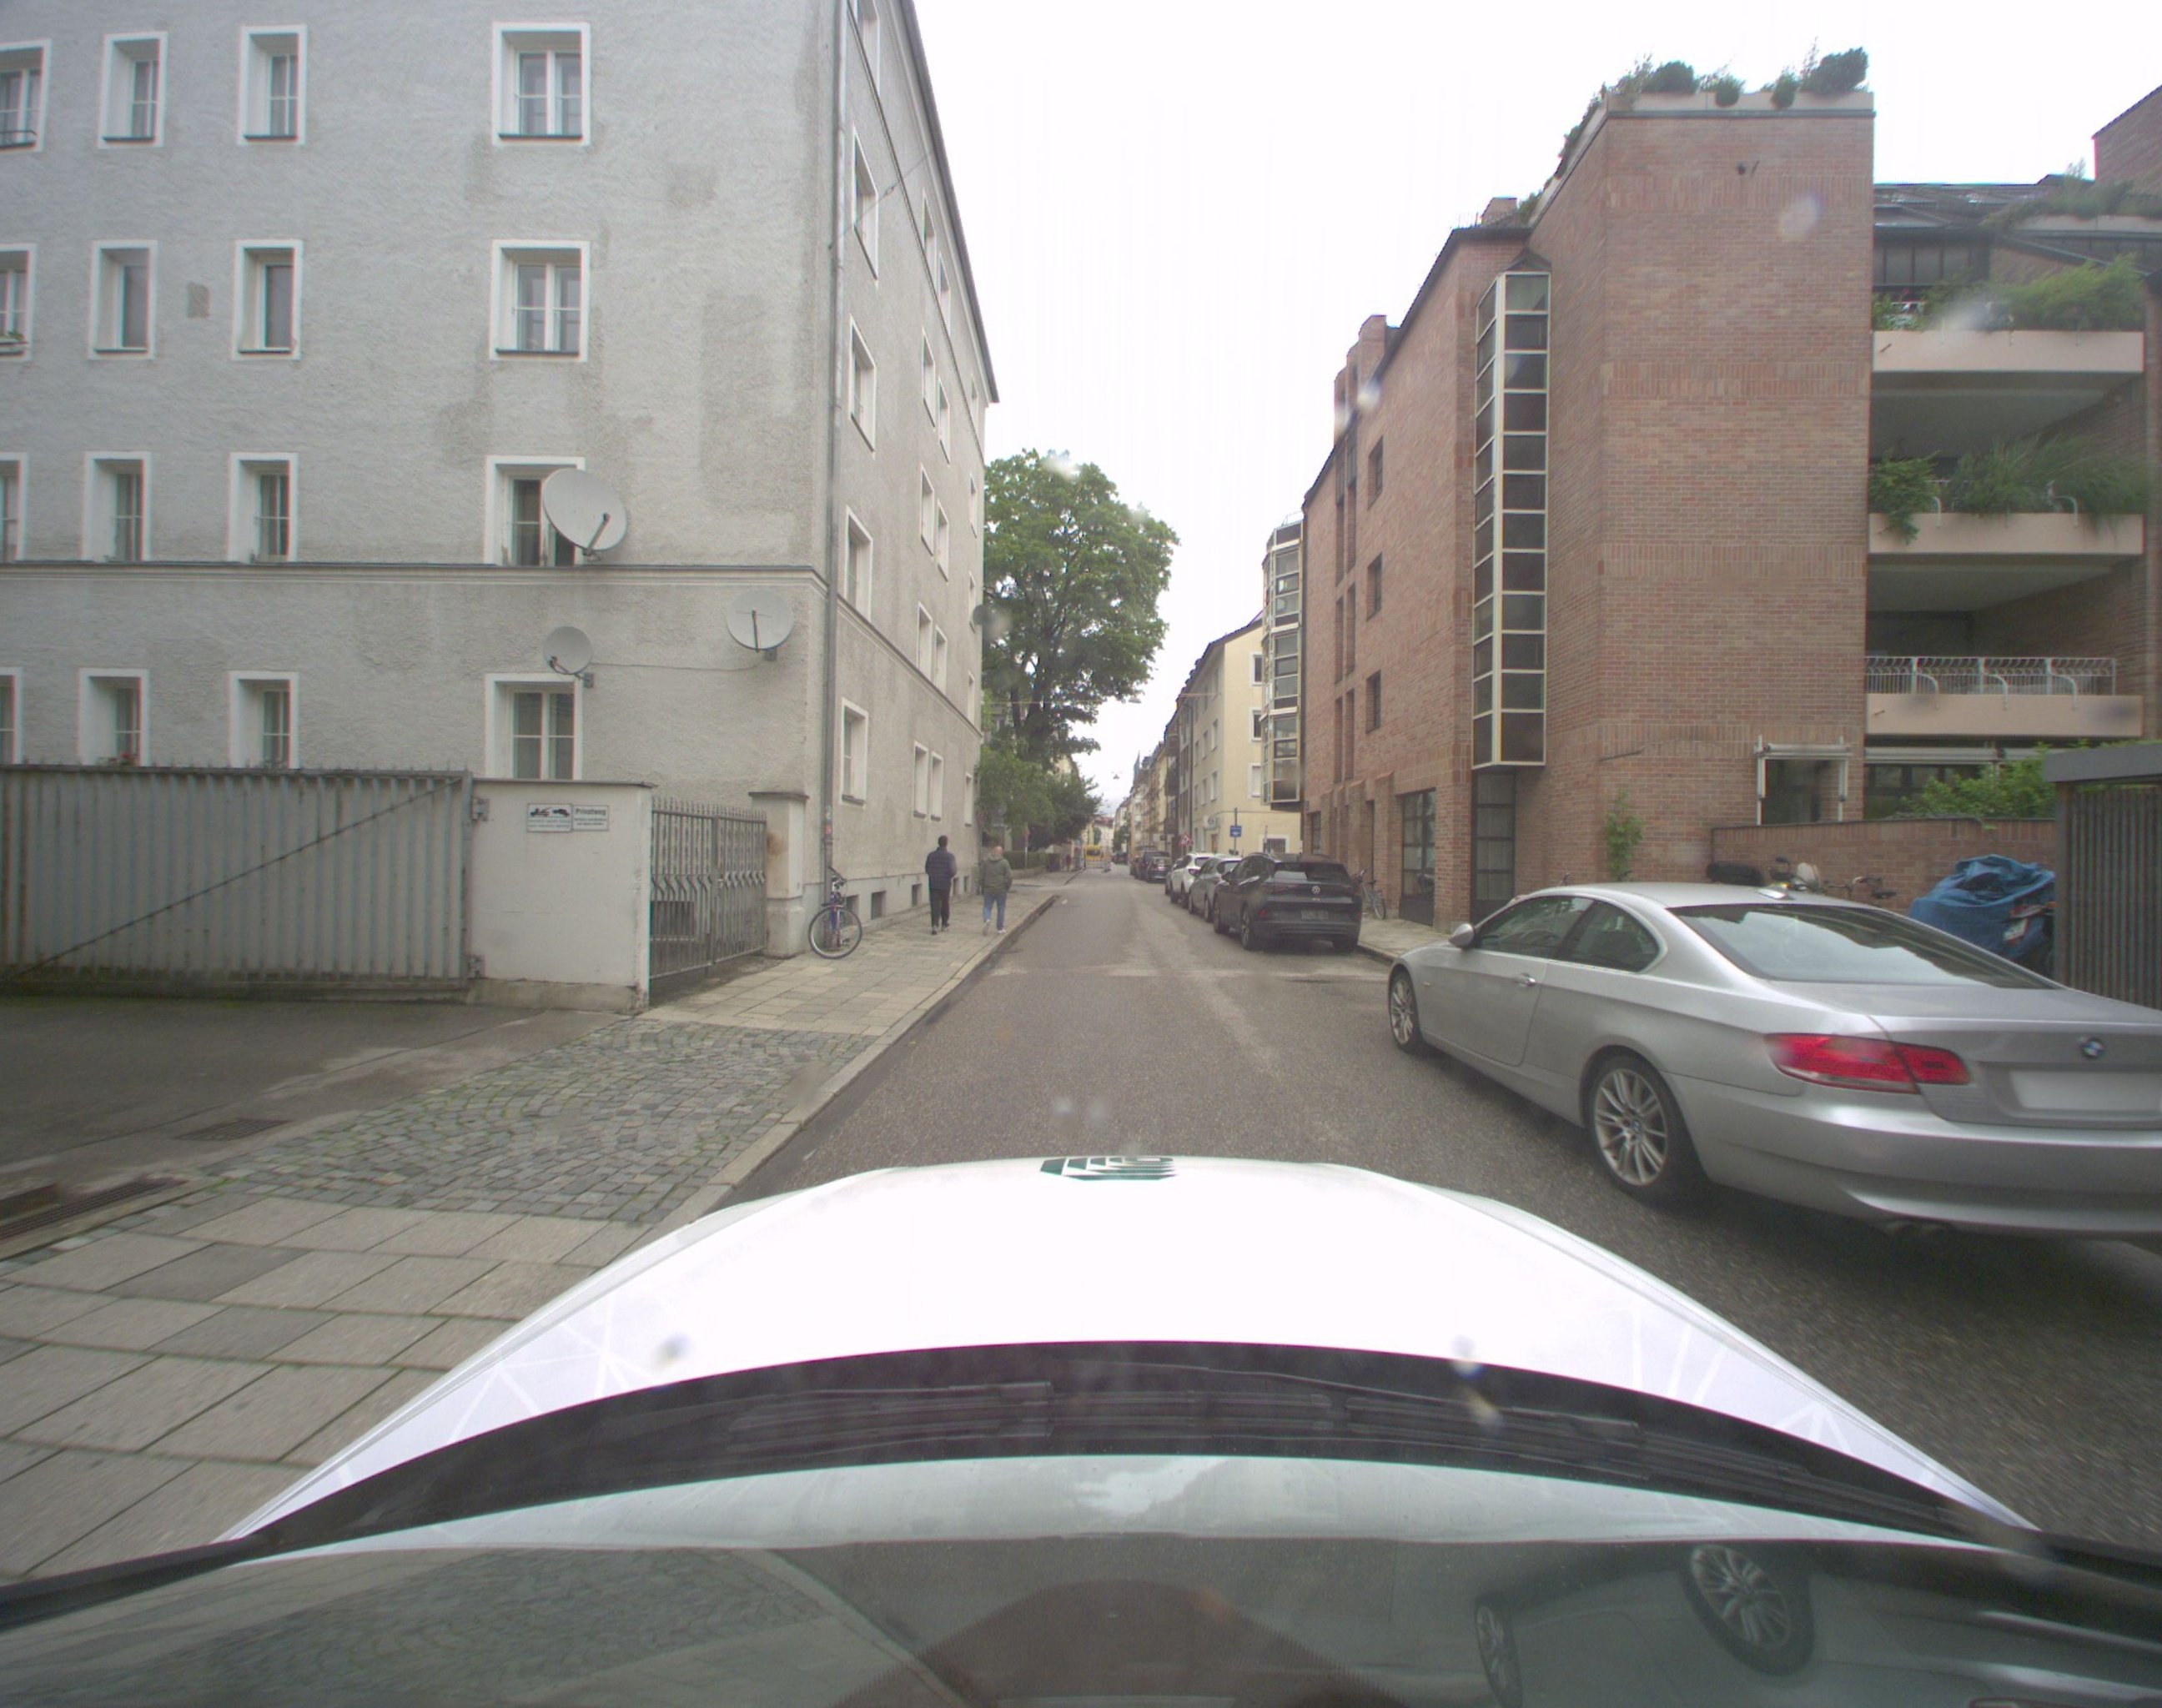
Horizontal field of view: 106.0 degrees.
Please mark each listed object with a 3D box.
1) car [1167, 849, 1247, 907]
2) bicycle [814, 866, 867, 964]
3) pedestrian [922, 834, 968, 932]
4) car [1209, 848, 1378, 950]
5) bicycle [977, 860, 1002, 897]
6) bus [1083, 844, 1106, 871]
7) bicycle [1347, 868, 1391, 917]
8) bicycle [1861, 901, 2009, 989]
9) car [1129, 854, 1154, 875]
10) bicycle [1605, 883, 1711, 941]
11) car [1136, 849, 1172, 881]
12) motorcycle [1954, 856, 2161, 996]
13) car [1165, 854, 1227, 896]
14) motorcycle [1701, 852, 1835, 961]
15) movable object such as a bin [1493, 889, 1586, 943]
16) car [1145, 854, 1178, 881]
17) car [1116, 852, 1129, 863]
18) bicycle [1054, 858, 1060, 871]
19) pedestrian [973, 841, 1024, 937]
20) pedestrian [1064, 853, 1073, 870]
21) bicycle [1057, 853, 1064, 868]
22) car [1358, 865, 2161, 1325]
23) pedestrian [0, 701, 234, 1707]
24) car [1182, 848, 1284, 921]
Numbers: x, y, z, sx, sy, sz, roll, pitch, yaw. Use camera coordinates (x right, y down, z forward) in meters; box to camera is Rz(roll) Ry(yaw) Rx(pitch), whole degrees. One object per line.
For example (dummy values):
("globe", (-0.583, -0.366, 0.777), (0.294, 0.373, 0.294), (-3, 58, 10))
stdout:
("car", (3.762, 0.672, 24.942), (1.743, 1.630, 4.195), (0, 0, -1))
("bicycle", (-3.299, 0.785, 11.136), (0.643, 1.217, 1.655), (0, -1, -17))
("pedestrian", (-2.462, 0.515, 14.824), (0.610, 1.713, 0.823), (2, -1, 1))
("car", (3.633, 0.701, 14.804), (1.880, 1.555, 4.390), (1, 0, -1))
("bicycle", (-2.906, 0.743, 25.747), (0.474, 1.111, 1.751), (1, 0, -16))
("bus", (1.664, 0.373, 97.199), (2.583, 3.102, 6.308), (0, -1, 2))
("bicycle", (6.684, 0.874, 18.961), (0.557, 1.079, 1.472), (1, 0, 2))
("bicycle", (9.644, 0.998, 9.257), (0.372, 0.859, 1.322), (0, -1, 5))
("car", (4.694, 0.798, 63.174), (1.630, 1.515, 3.830), (4, 0, 1))
("bicycle", (8.803, 0.878, 12.436), (1.311, 0.859, 0.414), (0, -1, 1))
("car", (4.543, 0.639, 51.290), (1.796, 1.820, 3.999), (4, 0, -1))
("motorcycle", (10.328, 0.691, 8.090), (2.502, 1.343, 0.551), (0, -1, 6))
("car", (4.169, 0.724, 30.095), (1.739, 1.445, 4.000), (1, 0, 0))
("motorcycle", (9.242, 0.652, 11.049), (0.536, 1.345, 1.947), (-1, -1, 13))
("movable object such as a bin", (7.566, 1.012, 13.481), (1.082, 0.832, 0.844), (0, 0, 2))
("car", (4.593, 0.733, 46.927), (1.618, 1.487, 3.810), (1, 0, 2))
("car", (6.589, 0.525, 129.097), (1.795, 1.712, 3.826), (4, 0, 0))
("bicycle", (-1.928, 0.825, 65.164), (0.444, 1.073, 2.467), (0, -1, 0))
("pedestrian", (-1.493, 0.623, 14.851), (0.750, 1.659, 0.906), (2, -1, 1))
("pedestrian", (-1.111, 0.624, 71.566), (0.753, 1.491, 0.831), (0, -1, 1))
("bicycle", (-1.947, 0.659, 77.975), (0.512, 1.418, 1.934), (0, -1, 1))
("car", (3.371, 0.821, 4.955), (1.830, 1.417, 4.601), (1, 0, 0))
("pedestrian", (-2.236, 0.608, 1.338), (0.715, 1.765, 0.838), (2, -1, 1))
("car", (3.675, 0.696, 20.365), (1.716, 1.635, 3.878), (0, -1, -2))
